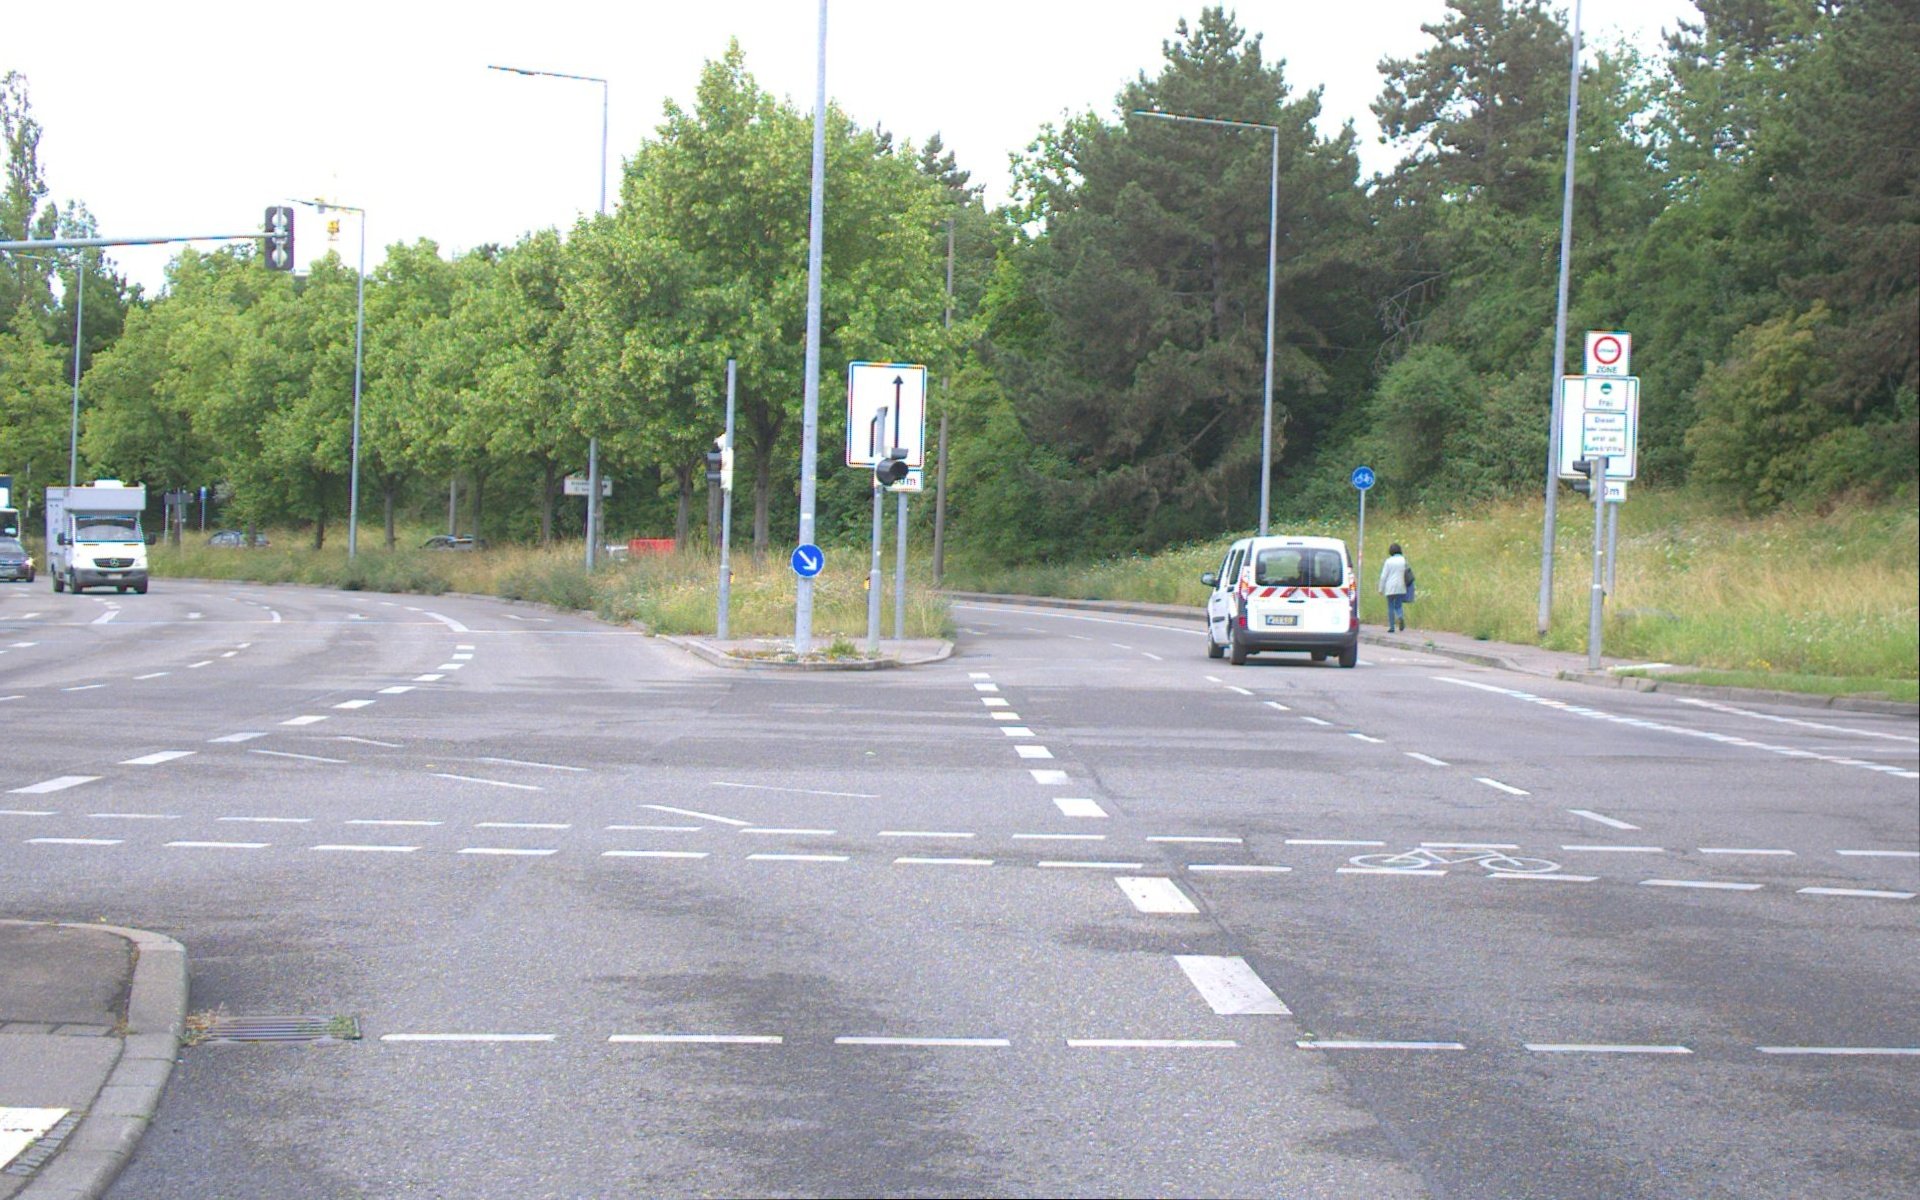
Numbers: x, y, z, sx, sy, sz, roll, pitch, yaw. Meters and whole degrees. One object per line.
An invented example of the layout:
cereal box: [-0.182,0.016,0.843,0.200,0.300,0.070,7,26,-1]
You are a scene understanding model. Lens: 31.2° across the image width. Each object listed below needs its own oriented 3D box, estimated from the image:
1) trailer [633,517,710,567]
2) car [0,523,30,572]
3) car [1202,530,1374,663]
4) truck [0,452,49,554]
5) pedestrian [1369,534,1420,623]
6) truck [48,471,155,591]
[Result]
trailer: [-9.421,-1.904,112.209,1.764,1.610,3.045,0,1,-20]
car: [-31.613,-1.735,113.390,1.780,1.441,4.530,-1,3,-15]
car: [4.611,-0.066,48.967,1.994,1.796,4.839,0,0,0]
truck: [-39.036,-3.707,132.530,3.049,3.747,12.811,0,1,-36]
pedestrian: [8.056,-0.409,63.792,0.814,1.622,0.791,1,1,-1]
truck: [-23.447,-1.866,93.738,2.115,3.124,5.902,1,1,-21]
